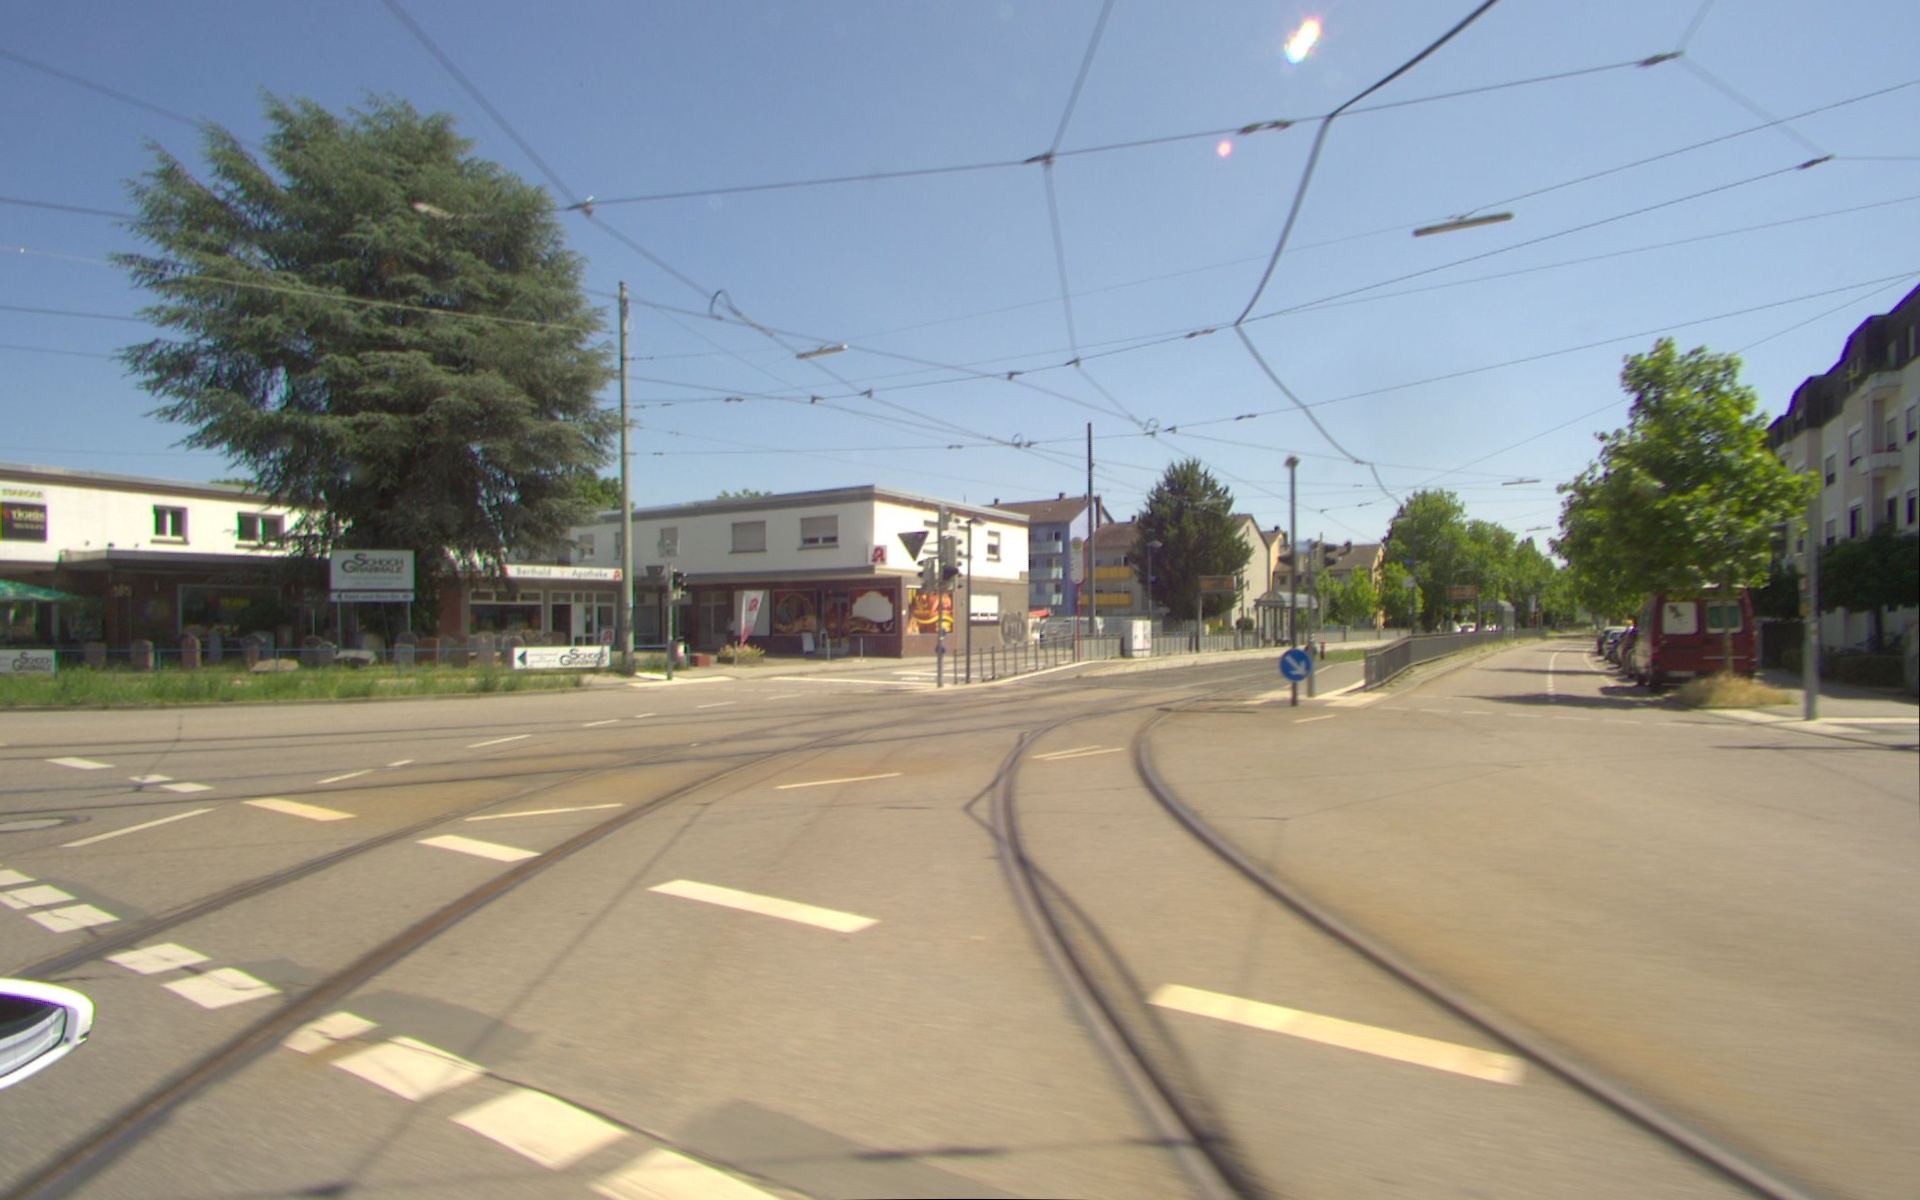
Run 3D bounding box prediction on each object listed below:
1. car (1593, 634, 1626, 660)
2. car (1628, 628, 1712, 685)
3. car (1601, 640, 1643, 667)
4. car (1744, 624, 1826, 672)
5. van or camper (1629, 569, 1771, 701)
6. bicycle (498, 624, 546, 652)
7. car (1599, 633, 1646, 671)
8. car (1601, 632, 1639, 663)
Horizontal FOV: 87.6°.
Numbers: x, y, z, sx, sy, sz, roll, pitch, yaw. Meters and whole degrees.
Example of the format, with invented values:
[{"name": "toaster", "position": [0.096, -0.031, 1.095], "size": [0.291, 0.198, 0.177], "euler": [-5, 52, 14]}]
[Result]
[{"name": "car", "position": [35.814, 2.554, 55.259], "size": [1.431, 1.371, 3.346], "euler": [-1, -2, 32]}, {"name": "car", "position": [20.771, 1.615, 29.409], "size": [1.654, 1.567, 3.789], "euler": [-1, -2, 30]}, {"name": "car", "position": [28.459, 2.276, 43.115], "size": [1.431, 1.094, 3.346], "euler": [-1, -2, 32]}, {"name": "car", "position": [29.336, 1.698, 35.704], "size": [1.629, 1.630, 3.637], "euler": [-1, -2, 30]}, {"name": "van or camper", "position": [17.625, 0.837, 24.122], "size": [2.175, 2.801, 5.218], "euler": [0, -2, 30]}, {"name": "bicycle", "position": [-19.569, 1.726, 44.739], "size": [0.592, 1.206, 1.862], "euler": [-3, -5, 42]}, {"name": "car", "position": [25.275, 1.948, 38.273], "size": [1.431, 1.399, 3.346], "euler": [-1, -2, 32]}, {"name": "car", "position": [31.086, 2.213, 47.215], "size": [1.431, 1.371, 3.346], "euler": [-1, -2, 32]}]
